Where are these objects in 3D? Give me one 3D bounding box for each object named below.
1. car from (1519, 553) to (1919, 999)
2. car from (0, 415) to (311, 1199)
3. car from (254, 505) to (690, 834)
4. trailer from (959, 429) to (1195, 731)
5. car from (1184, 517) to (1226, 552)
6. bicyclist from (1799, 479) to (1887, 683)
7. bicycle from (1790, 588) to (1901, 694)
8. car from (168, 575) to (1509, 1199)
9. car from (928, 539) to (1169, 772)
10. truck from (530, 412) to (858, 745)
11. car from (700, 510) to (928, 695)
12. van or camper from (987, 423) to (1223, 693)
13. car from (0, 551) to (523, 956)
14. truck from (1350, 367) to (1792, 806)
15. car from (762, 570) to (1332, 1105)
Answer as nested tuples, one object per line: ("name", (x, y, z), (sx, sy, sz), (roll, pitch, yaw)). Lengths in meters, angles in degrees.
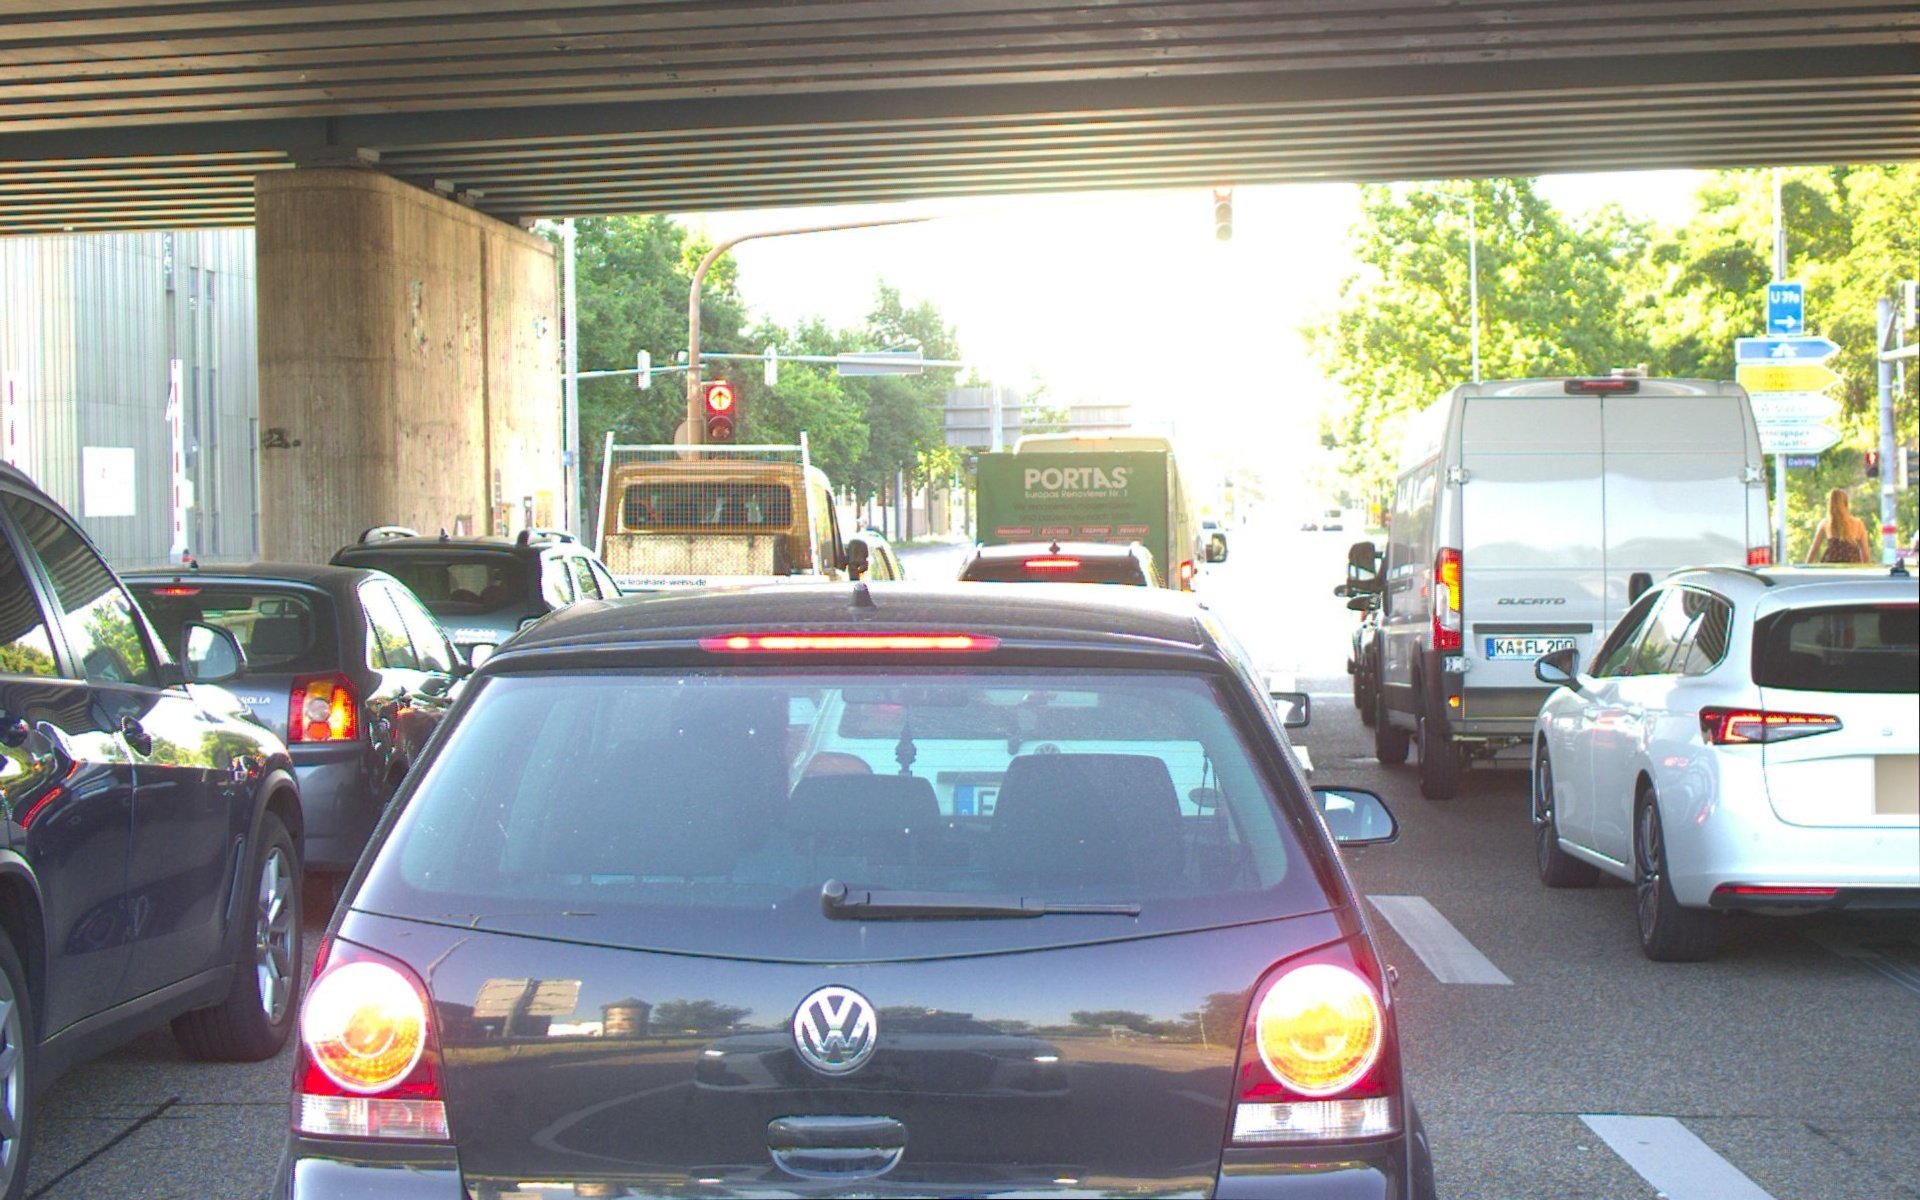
("car", (3.357, 0.587, 13.581), (1.772, 1.490, 3.831), (-2, 0, 2))
("car", (-2.926, 0.487, 8.307), (1.829, 1.732, 4.461), (-1, 0, 0))
("car", (-2.865, 0.376, 21.049), (1.841, 1.713, 4.000), (-4, 0, 3))
("trailer", (1.097, -0.163, 30.472), (1.864, 2.456, 3.831), (-2, 0, 4))
("car", (9.644, -2.576, 135.478), (1.339, 1.277, 2.893), (-4, 0, -1))
("bicyclist", (8.317, -0.175, 32.409), (0.682, 1.900, 0.833), (0, 0, 6))
("bicycle", (8.357, 0.373, 32.528), (0.579, 0.960, 2.885), (-1, 0, 6))
("car", (-0.187, 0.680, 5.970), (1.581, 1.404, 3.832), (0, 0, -1))
("car", (0.673, 0.372, 24.515), (1.582, 1.527, 3.831), (0, 0, 3))
("truck", (-2.130, -0.164, 29.149), (2.028, 2.548, 5.537), (0, 0, 3))
("car", (-1.532, 0.026, 37.539), (1.994, 1.894, 3.999), (-1, 0, 5))
("van or camper", (1.606, -0.396, 35.747), (1.994, 2.562, 5.916), (0, 0, 7))
("car", (-3.071, 0.588, 14.832), (1.841, 1.435, 3.675), (-4, 0, 0))
("truck", (3.836, -0.086, 22.387), (2.111, 2.511, 4.401), (-2, 0, 1))
("car", (0.286, 0.646, 11.275), (1.547, 1.418, 3.417), (2, 1, 2))
